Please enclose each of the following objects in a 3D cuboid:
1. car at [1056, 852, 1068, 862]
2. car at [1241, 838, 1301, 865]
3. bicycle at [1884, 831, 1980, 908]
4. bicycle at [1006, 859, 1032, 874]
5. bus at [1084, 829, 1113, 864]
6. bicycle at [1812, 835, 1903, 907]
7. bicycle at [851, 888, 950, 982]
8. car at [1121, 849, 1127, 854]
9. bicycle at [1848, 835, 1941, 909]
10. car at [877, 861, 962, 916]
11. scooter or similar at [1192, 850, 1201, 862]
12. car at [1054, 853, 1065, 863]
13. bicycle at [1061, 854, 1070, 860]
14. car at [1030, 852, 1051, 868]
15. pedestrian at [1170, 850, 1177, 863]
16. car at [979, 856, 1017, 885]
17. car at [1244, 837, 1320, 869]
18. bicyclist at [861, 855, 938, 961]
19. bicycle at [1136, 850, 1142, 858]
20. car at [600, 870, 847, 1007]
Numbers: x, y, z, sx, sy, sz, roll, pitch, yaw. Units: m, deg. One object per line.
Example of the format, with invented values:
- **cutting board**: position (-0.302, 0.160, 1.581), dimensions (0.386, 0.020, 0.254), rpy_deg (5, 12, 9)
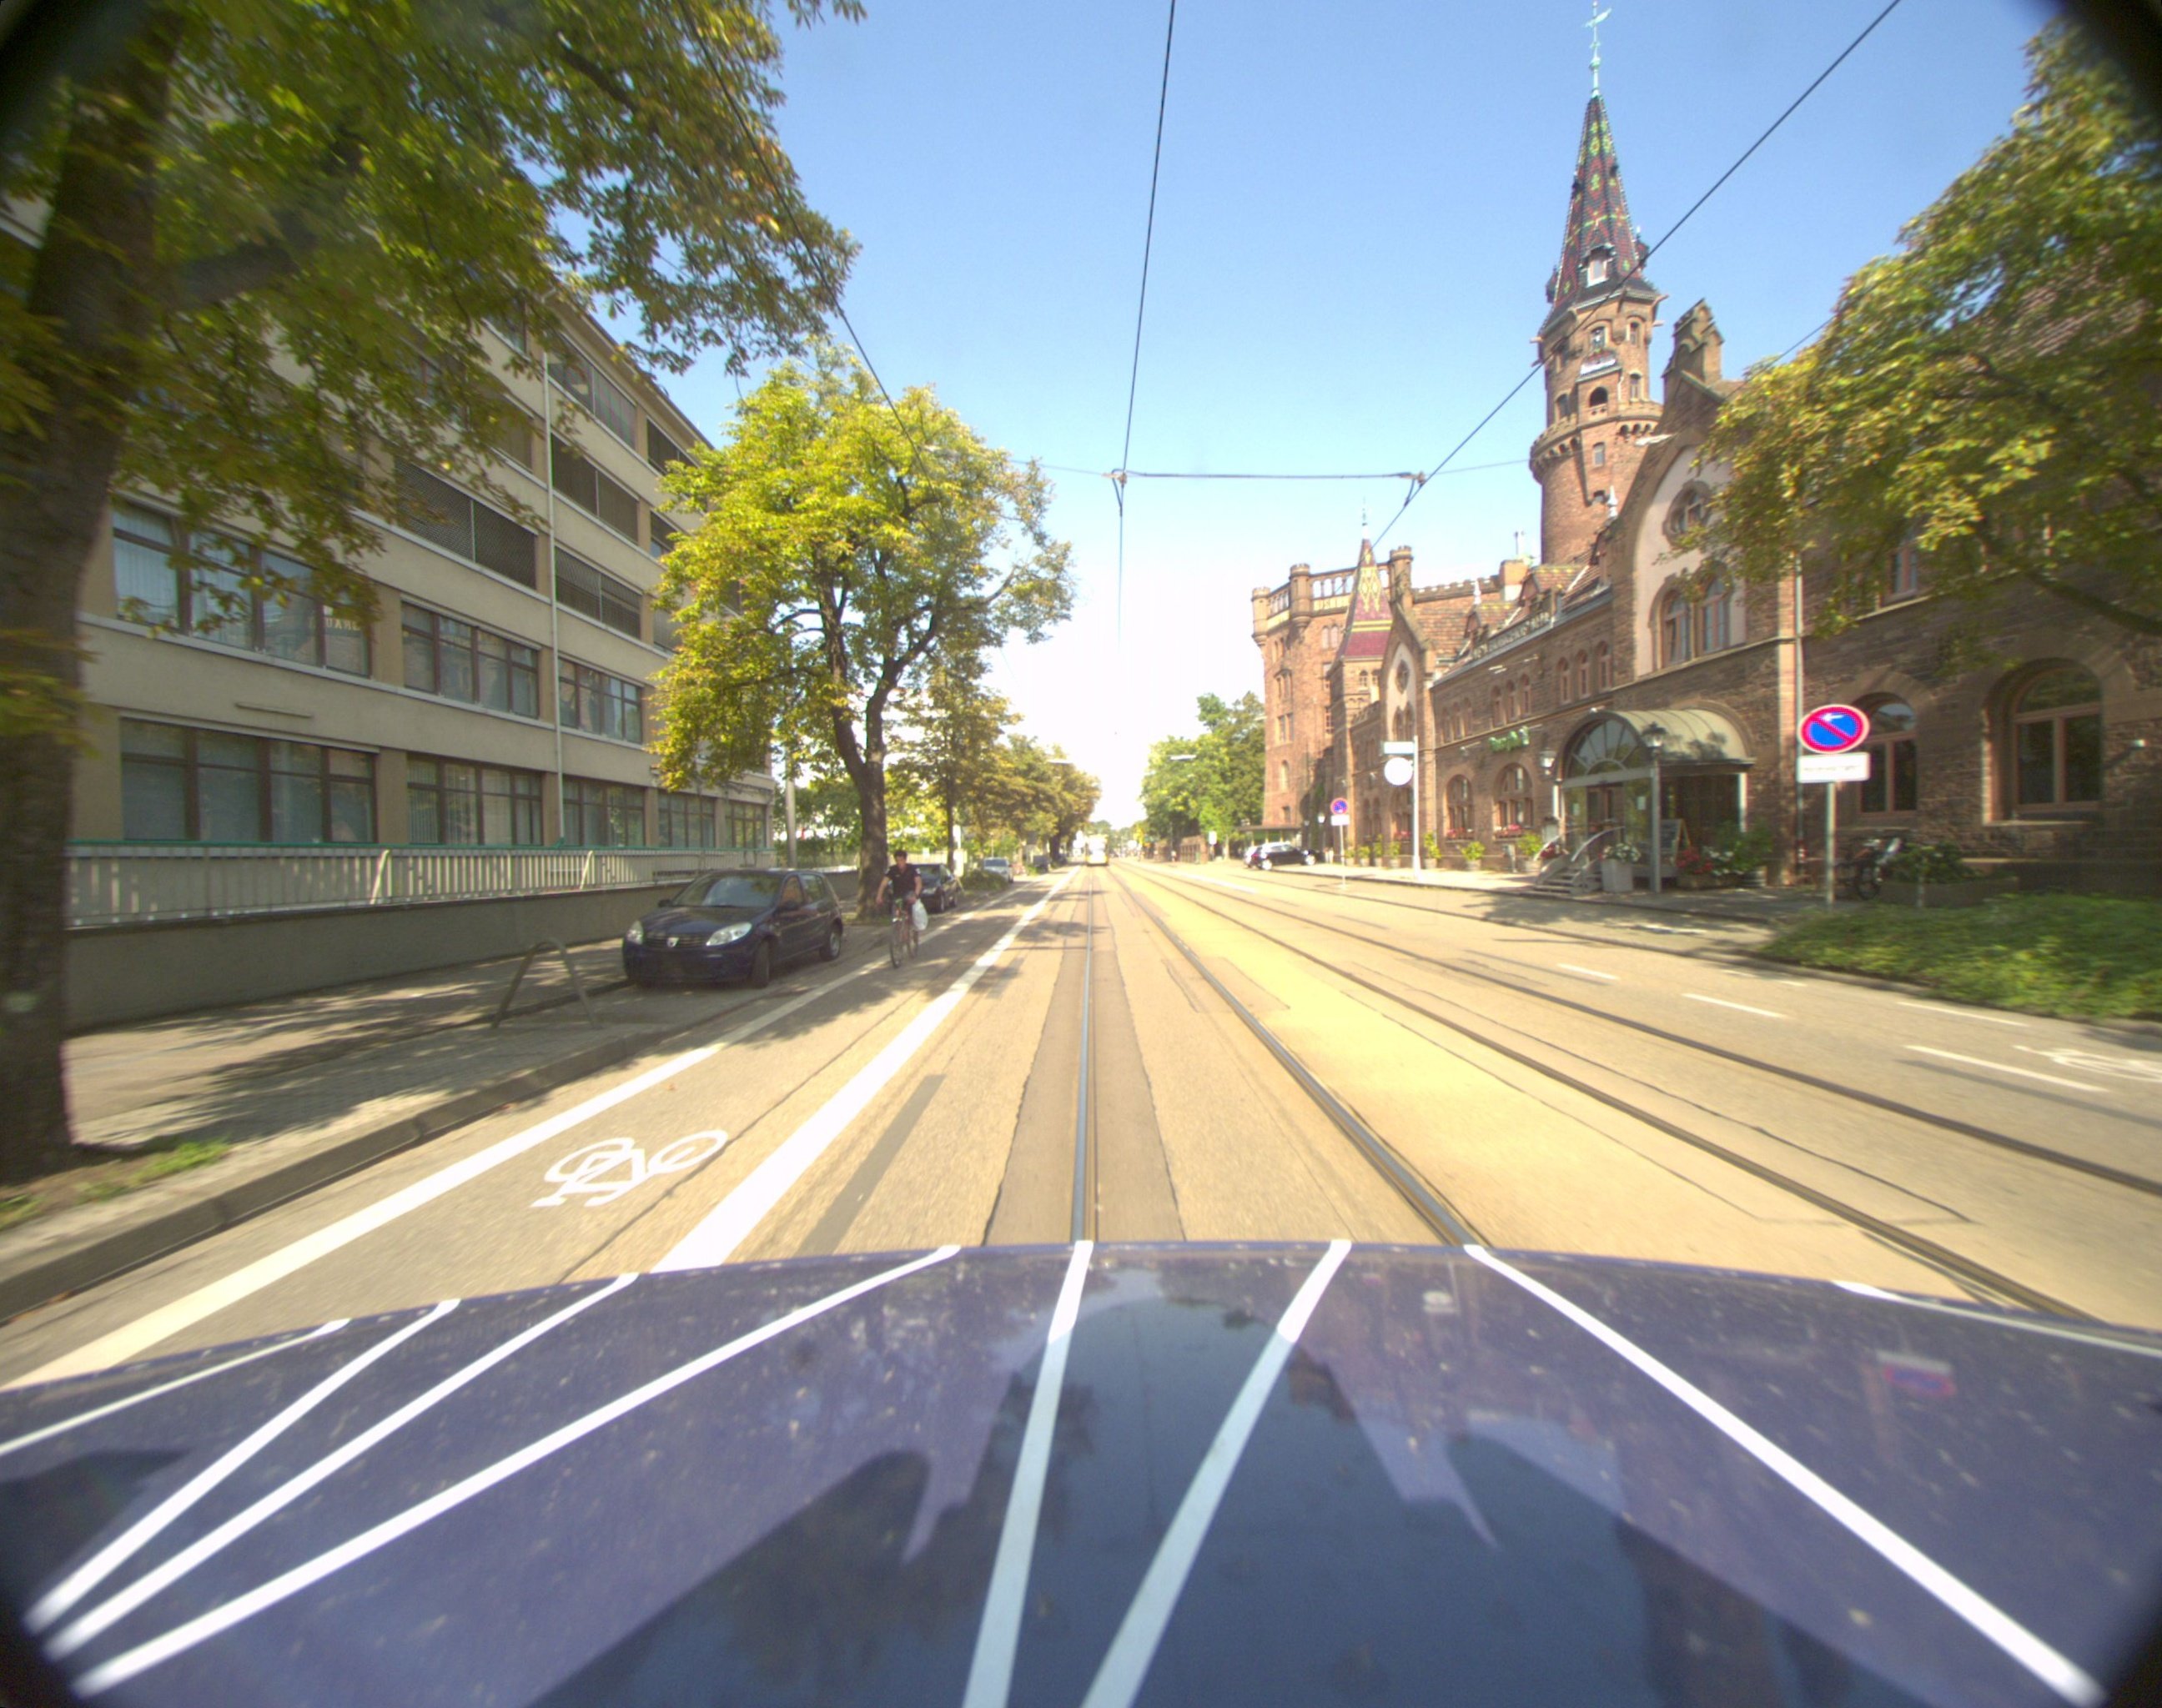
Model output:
- **car**: position (-3.005, 0.450, 123.879), dimensions (1.866, 1.643, 4.183), rpy_deg (0, 1, 0)
- **car**: position (14.062, -0.166, 56.388), dimensions (3.908, 1.586, 1.823), rpy_deg (-5, 0, 3)
- **bicycle**: position (14.208, 0.247, 12.678), dimensions (1.809, 1.068, 0.420), rpy_deg (-7, 3, -21)
- **bicycle**: position (-4.381, 0.867, 53.833), dimensions (1.773, 1.058, 0.796), rpy_deg (0, 1, -1)
- **bus**: position (2.142, -0.824, 88.181), dimensions (2.900, 3.771, 9.319), rpy_deg (-2, 1, 3)
- **bicycle**: position (13.859, 0.291, 13.546), dimensions (1.809, 1.068, 0.420), rpy_deg (-7, 3, -21)
- **bicycle**: position (-2.639, 1.147, 11.415), dimensions (0.789, 1.138, 2.305), rpy_deg (-2, 1, 3)
- **car**: position (12.914, -0.706, 229.779), dimensions (1.694, 1.433, 4.000), rpy_deg (-1, 0, 1)
- **bicycle**: position (14.047, 0.289, 13.115), dimensions (1.809, 1.068, 0.420), rpy_deg (-7, 3, -21)
- **car**: position (-4.702, 0.949, 22.647), dimensions (1.650, 1.420, 4.084), rpy_deg (0, 1, 0)
- **scooter or similar**: position (11.727, 0.226, 77.202), dimensions (0.818, 1.142, 0.283), rpy_deg (-5, 3, -35)
- **car**: position (-3.236, 0.572, 112.231), dimensions (1.566, 1.433, 3.563), rpy_deg (1, 1, -2)
- **bicycle**: position (-2.726, 0.591, 134.865), dimensions (1.621, 1.009, 0.382), rpy_deg (-1, 1, -2)
- **car**: position (-3.817, 0.569, 71.736), dimensions (1.745, 1.477, 4.437), rpy_deg (0, 0, 0)
- **pedestrian**: position (11.636, 0.323, 95.701), dimensions (0.717, 1.580, 0.775), rpy_deg (-2, 1, 0)
- **car**: position (-4.472, 0.848, 41.266), dimensions (1.644, 1.421, 3.988), rpy_deg (-1, 1, -1)
- **car**: position (13.259, -0.089, 50.364), dimensions (4.407, 1.636, 1.957), rpy_deg (-6, 0, 2)
- **bicyclist**: position (-2.662, 0.762, 11.275), dimensions (0.789, 1.461, 1.116), rpy_deg (-2, 1, 3)
- **bicycle**: position (8.861, -0.071, 115.309), dimensions (0.699, 1.151, 2.037), rpy_deg (-1, 2, -1)
- **car**: position (-4.786, 1.032, 10.817), dimensions (1.650, 1.502, 3.778), rpy_deg (0, 1, 1)
